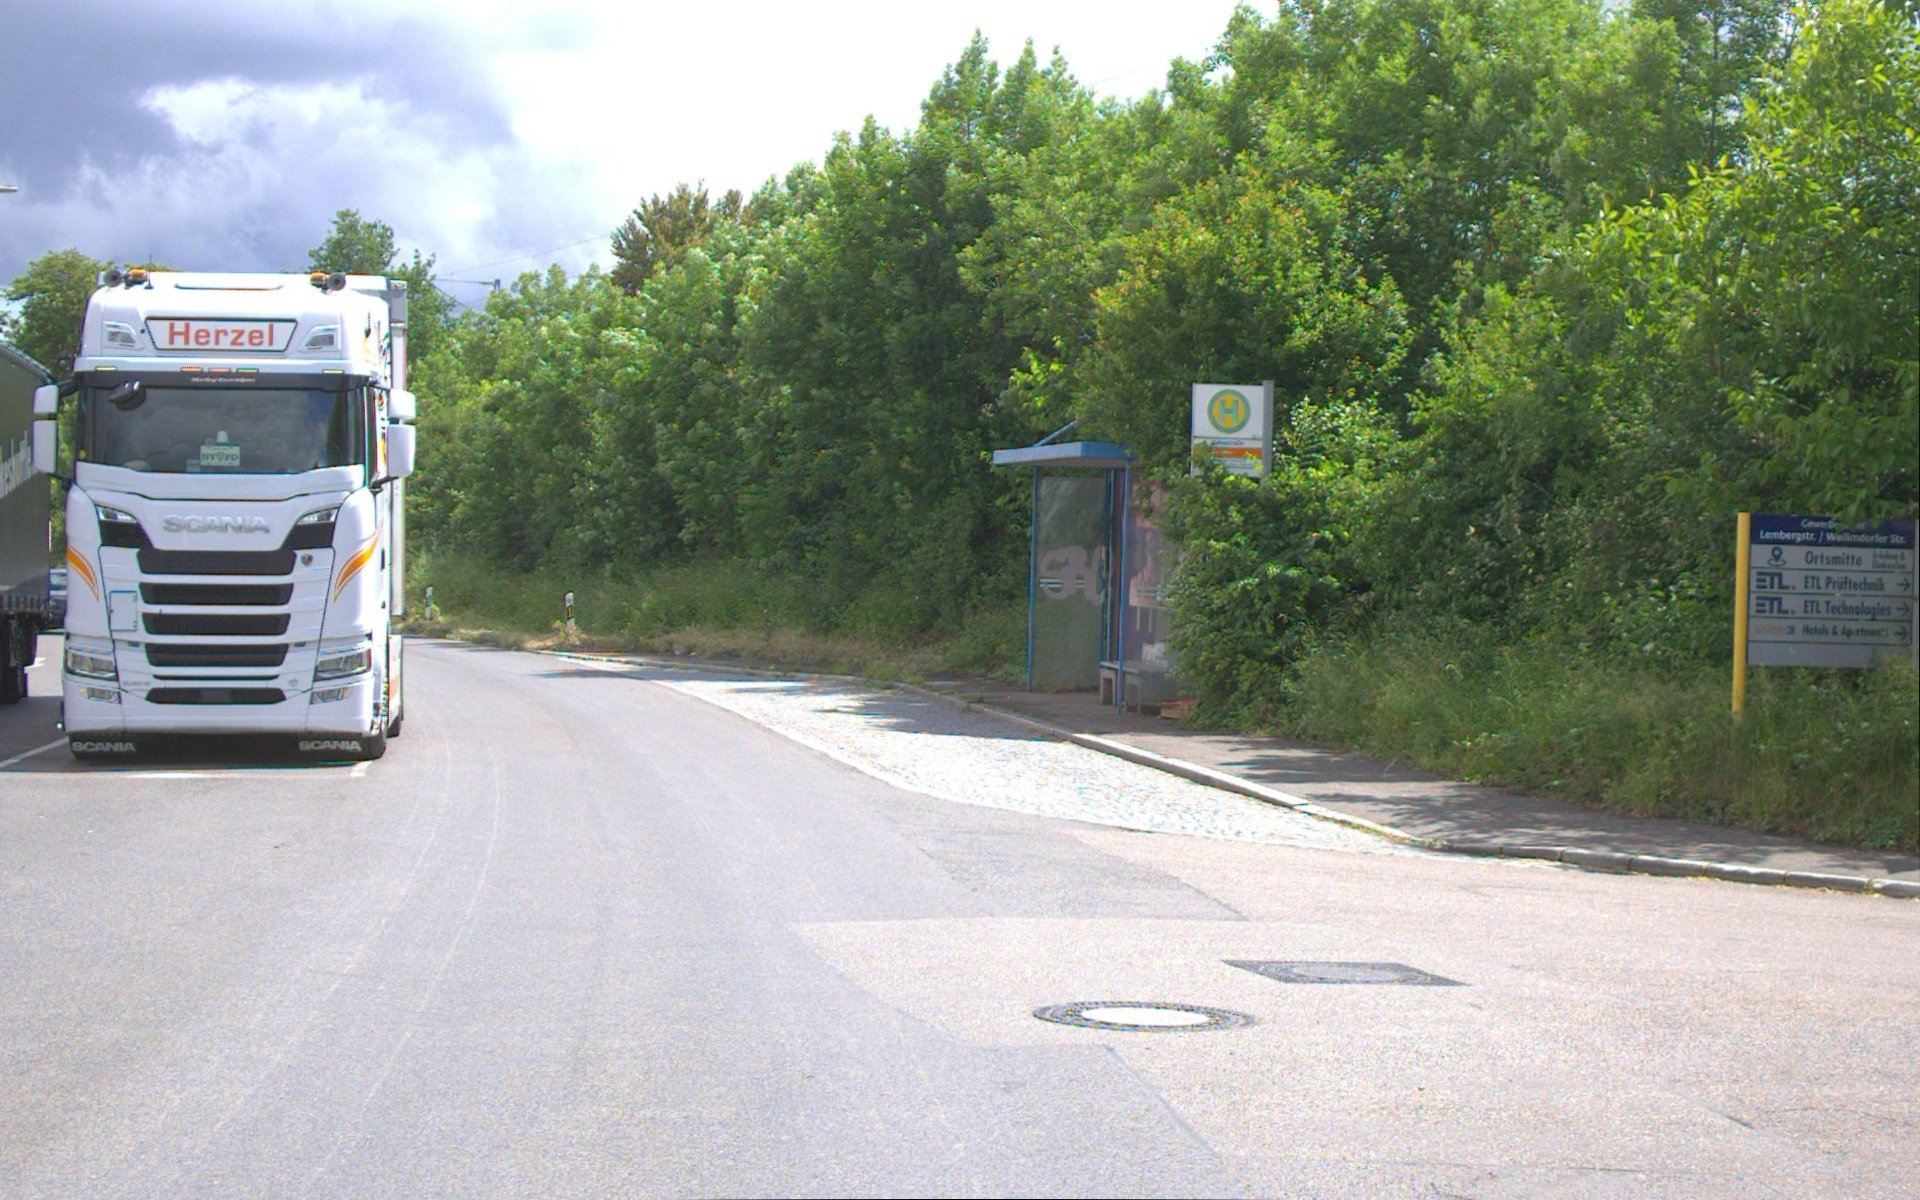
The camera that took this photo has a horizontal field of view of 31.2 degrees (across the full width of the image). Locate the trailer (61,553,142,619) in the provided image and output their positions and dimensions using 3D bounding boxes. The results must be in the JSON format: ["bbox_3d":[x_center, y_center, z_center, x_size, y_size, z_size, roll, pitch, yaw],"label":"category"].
[{"bbox_3d":[-19.274,-0.338,77.126,1.647,1.418,4.001,0,1,-16],"label":"trailer"}]

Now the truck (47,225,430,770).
[{"bbox_3d":[-5.964,-0.786,28.932,2.770,4.105,4.988,2,0,-10],"label":"truck"}]

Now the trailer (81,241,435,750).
[{"bbox_3d":[-7.117,-0.900,36.118,2.770,4.131,15.355,2,0,-10],"label":"trailer"}]

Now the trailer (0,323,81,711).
[{"bbox_3d":[-11.309,-0.879,35.021,2.798,4.039,15.560,2,0,-8],"label":"trailer"}]
